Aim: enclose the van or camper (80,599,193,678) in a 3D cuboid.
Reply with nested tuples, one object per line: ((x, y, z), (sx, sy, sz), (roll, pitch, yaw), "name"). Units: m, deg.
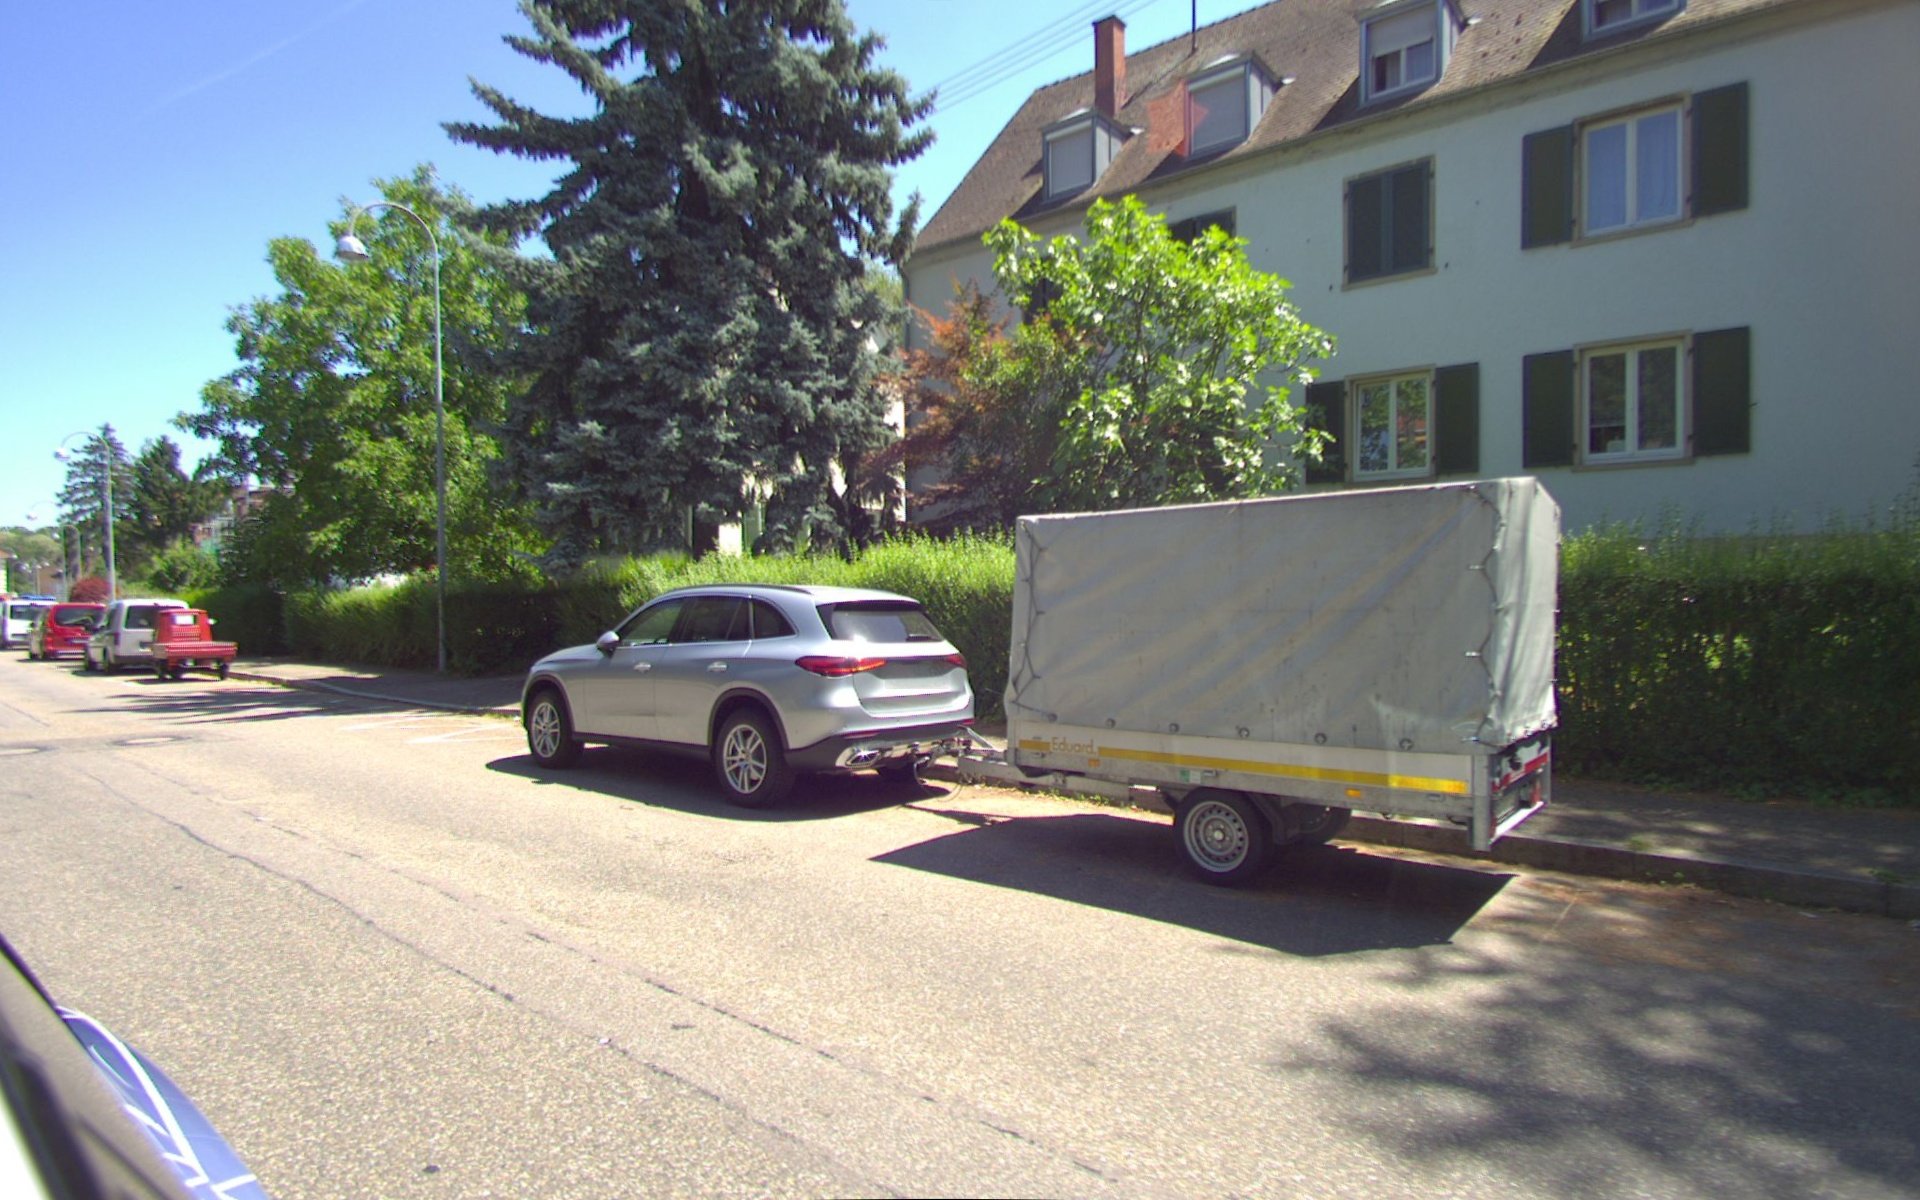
((-20.175, 0.903, 24.749), (3.887, 1.784, 1.563), (-1, -1, 42), "van or camper")

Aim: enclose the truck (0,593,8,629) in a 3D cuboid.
((-81.995, 0.930, 85.275), (2.194, 2.954, 6.734), (2, -2, -40), "truck")

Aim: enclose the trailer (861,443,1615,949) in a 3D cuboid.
((1.454, 0.429, 6.089), (3.996, 2.049, 1.796), (-1, -2, 40), "trailer")

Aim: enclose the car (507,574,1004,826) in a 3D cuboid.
((-1.949, 0.691, 8.716), (4.545, 1.631, 1.750), (-1, -2, 40), "car")

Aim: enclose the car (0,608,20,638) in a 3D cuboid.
((-60.755, 1.433, 63.804), (4.000, 1.837, 1.867), (-1, -2, 44), "car")

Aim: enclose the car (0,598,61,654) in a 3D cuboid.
((-37.393, 1.013, 40.357), (3.998, 2.131, 1.868), (-1, -2, 43), "car")

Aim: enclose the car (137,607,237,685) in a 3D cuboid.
((-16.569, 0.945, 21.687), (2.320, 1.589, 1.291), (-1, -1, 42), "car")

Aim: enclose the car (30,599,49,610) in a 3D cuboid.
((-142.330, 0.721, 156.490), (1.864, 1.749, 4.007), (2, -2, -38), "car")

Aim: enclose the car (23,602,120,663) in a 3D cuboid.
((-27.597, 0.979, 31.407), (3.612, 1.772, 1.868), (-1, -2, 42), "car")

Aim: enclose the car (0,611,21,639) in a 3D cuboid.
((-57.047, 1.447, 59.857), (3.998, 1.650, 1.868), (-1, -2, 43), "car")
